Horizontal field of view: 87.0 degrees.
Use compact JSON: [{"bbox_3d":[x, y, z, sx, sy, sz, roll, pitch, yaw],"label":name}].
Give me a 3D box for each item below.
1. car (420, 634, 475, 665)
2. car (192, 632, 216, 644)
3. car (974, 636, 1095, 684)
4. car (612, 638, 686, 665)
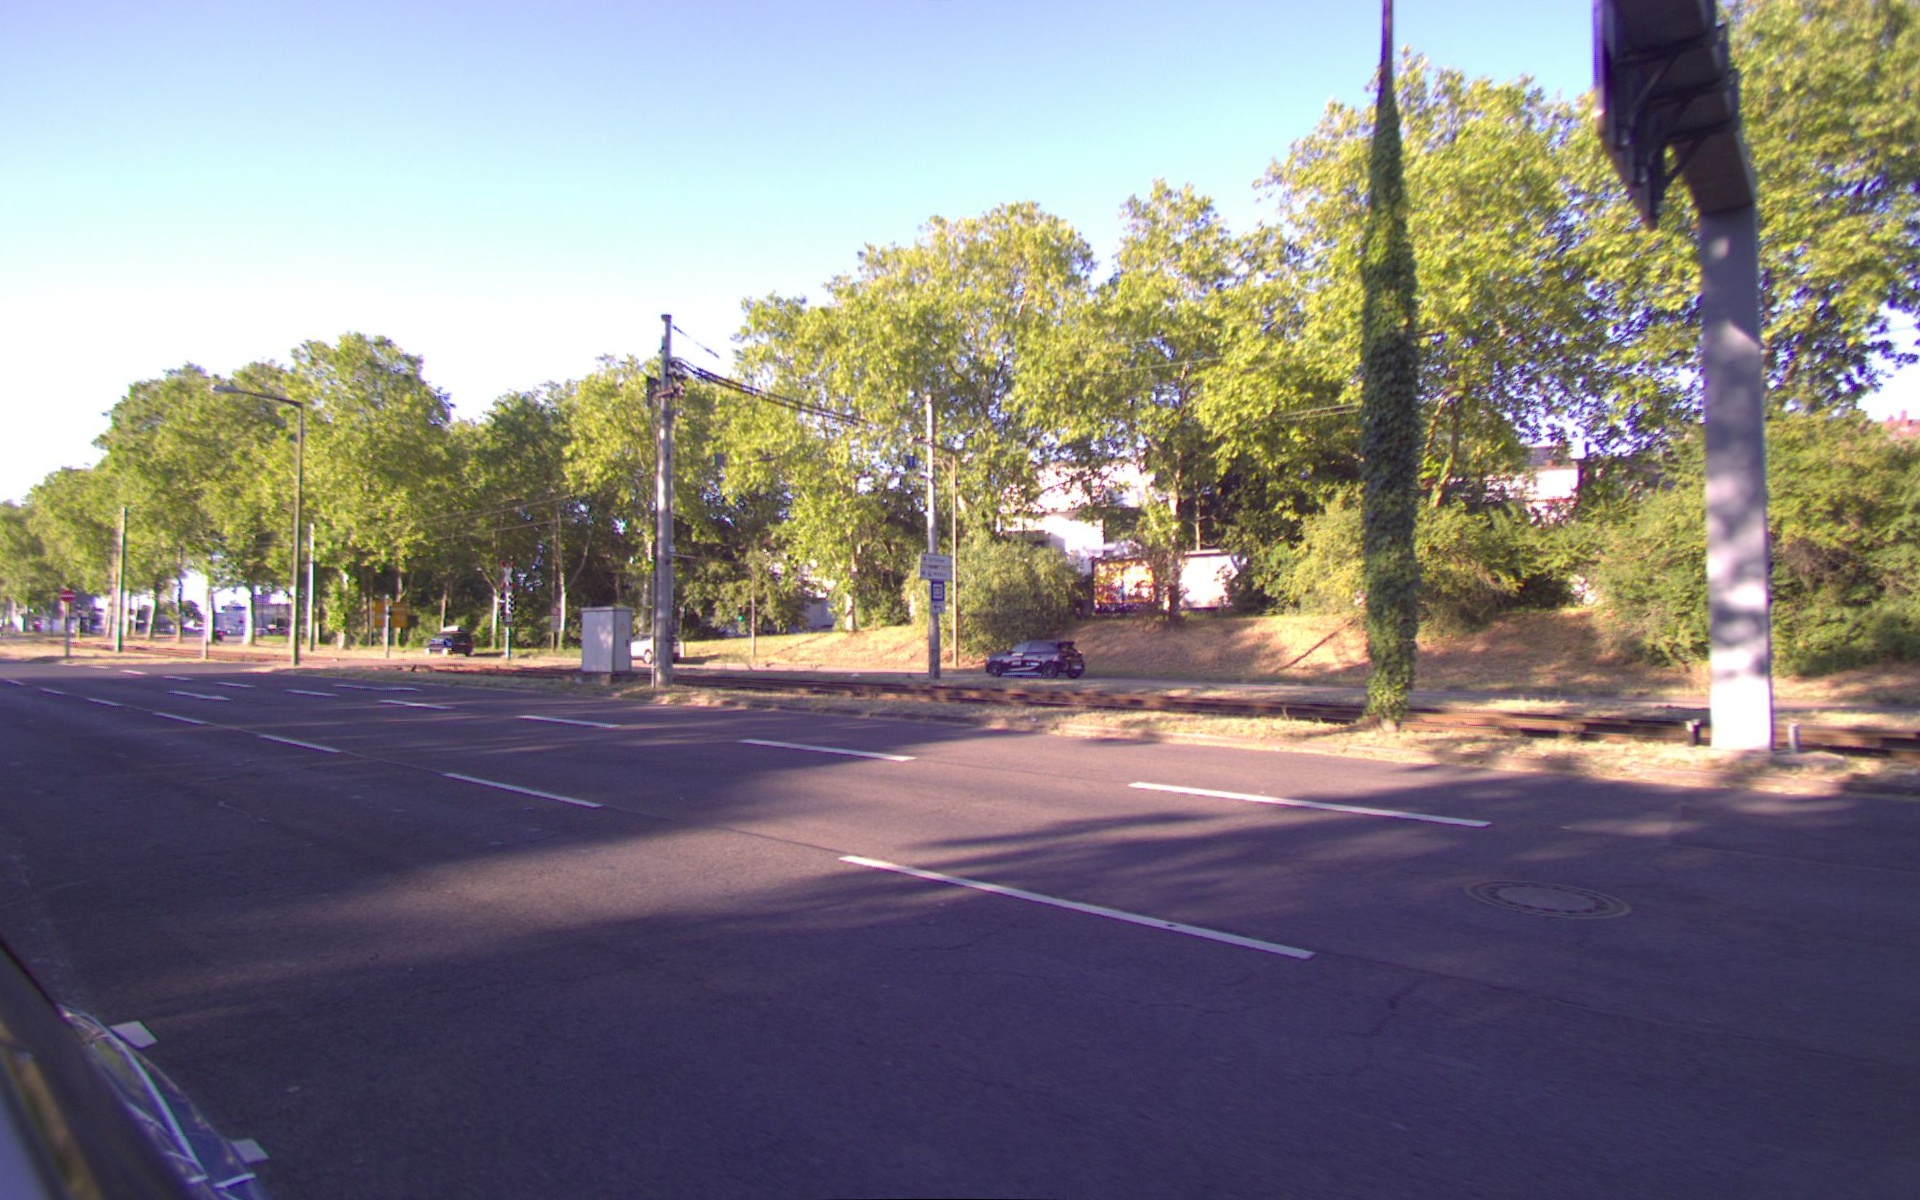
[{"bbox_3d":[-36.022,3.466,71.097,4.189,2.082,1.972,-2,-4,41],"label":"car"},{"bbox_3d":[-96.007,4.782,128.535,3.982,1.453,1.608,-2,-4,41],"label":"car"},{"bbox_3d":[2.765,2.221,37.939,4.189,1.694,1.972,-2,-4,42],"label":"car"},{"bbox_3d":[-17.225,2.847,55.968,4.188,1.452,1.973,-2,-4,41],"label":"car"}]
